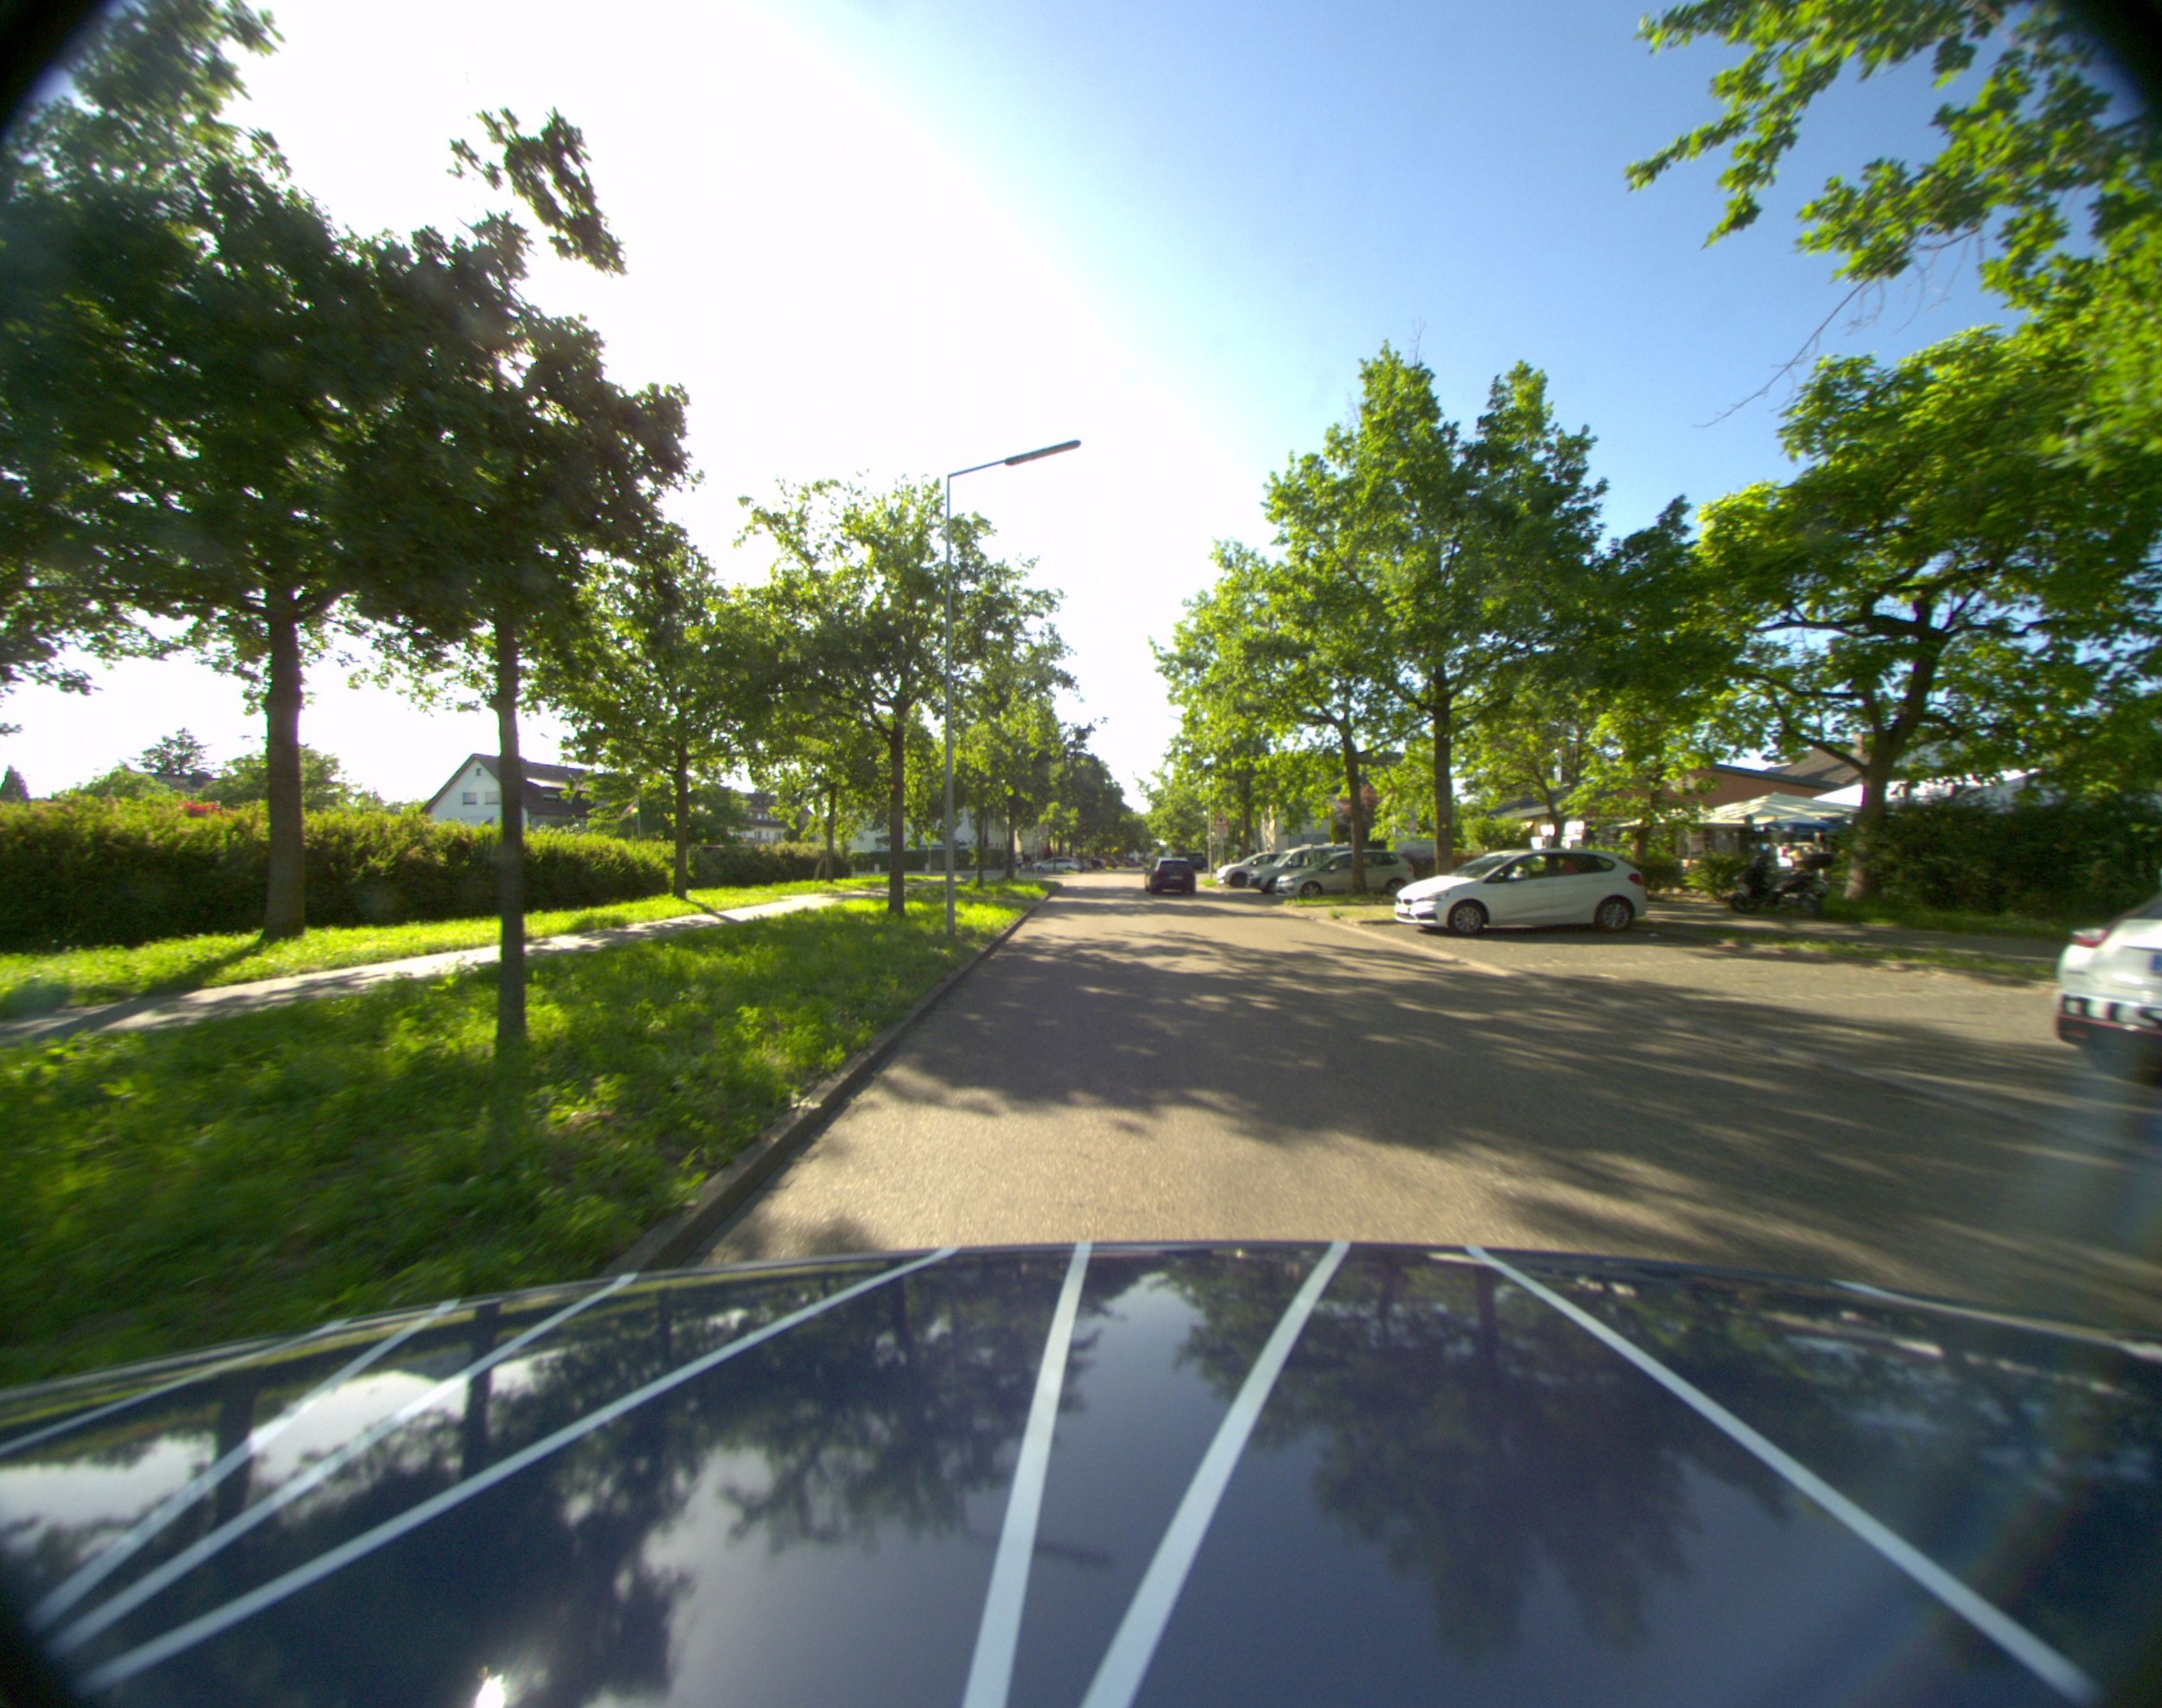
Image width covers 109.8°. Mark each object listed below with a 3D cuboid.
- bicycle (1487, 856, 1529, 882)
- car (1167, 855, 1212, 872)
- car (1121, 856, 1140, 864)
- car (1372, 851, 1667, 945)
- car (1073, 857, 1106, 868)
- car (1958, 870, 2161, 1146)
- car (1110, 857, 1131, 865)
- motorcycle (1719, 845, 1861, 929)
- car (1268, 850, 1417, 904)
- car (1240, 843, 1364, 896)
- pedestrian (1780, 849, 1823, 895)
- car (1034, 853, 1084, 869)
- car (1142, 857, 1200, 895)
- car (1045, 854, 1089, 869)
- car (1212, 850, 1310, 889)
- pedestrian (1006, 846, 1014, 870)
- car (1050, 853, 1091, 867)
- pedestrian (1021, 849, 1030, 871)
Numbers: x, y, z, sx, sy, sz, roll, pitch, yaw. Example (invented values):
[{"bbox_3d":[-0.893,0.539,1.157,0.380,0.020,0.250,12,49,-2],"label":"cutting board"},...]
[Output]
[{"bbox_3d":[18.046,0.611,32.162,0.641,1.081,1.882,0,0,-2],"label":"bicycle"},{"bbox_3d":[9.801,0.860,68.995,4.034,1.470,1.942,0,0,7],"label":"car"},{"bbox_3d":[11.223,1.283,172.152,4.034,1.767,1.942,0,0,7],"label":"car"},{"bbox_3d":[8.209,0.789,14.602,4.423,1.547,2.088,-2,0,2],"label":"car"},{"bbox_3d":[1.174,1.133,105.385,4.511,1.470,1.941,0,0,2],"label":"car"},{"bbox_3d":[8.310,0.827,4.240,4.424,1.502,2.088,-2,0,0],"label":"car"},{"bbox_3d":[8.022,1.406,153.279,4.034,1.767,1.942,0,0,7],"label":"car"},{"bbox_3d":[13.214,0.571,14.256,0.739,1.424,1.991,-4,0,1],"label":"motorcycle"},{"bbox_3d":[8.369,0.727,24.603,4.146,1.547,1.866,-2,0,2],"label":"car"},{"bbox_3d":[8.574,0.603,29.812,4.238,1.872,1.998,-2,0,0],"label":"car"},{"bbox_3d":[22.792,0.558,24.030,0.870,1.406,0.664,-1,1,-19],"label":"pedestrian"},{"bbox_3d":[-2.028,0.678,70.649,4.511,1.470,1.941,0,0,2],"label":"car"},{"bbox_3d":[3.518,0.838,30.567,1.688,1.394,4.426,0,0,-2],"label":"car"},{"bbox_3d":[-1.433,0.781,79.302,4.511,1.470,1.941,0,0,2],"label":"car"},{"bbox_3d":[8.270,0.712,35.204,4.072,1.633,1.876,-2,0,3],"label":"car"},{"bbox_3d":[-6.069,0.353,65.031,0.610,2.002,0.834,0,1,2],"label":"pedestrian"},{"bbox_3d":[-1.150,0.651,84.340,4.511,1.470,1.941,0,0,2],"label":"car"},{"bbox_3d":[-4.750,0.496,64.768,0.665,1.855,0.869,0,1,2],"label":"pedestrian"}]
